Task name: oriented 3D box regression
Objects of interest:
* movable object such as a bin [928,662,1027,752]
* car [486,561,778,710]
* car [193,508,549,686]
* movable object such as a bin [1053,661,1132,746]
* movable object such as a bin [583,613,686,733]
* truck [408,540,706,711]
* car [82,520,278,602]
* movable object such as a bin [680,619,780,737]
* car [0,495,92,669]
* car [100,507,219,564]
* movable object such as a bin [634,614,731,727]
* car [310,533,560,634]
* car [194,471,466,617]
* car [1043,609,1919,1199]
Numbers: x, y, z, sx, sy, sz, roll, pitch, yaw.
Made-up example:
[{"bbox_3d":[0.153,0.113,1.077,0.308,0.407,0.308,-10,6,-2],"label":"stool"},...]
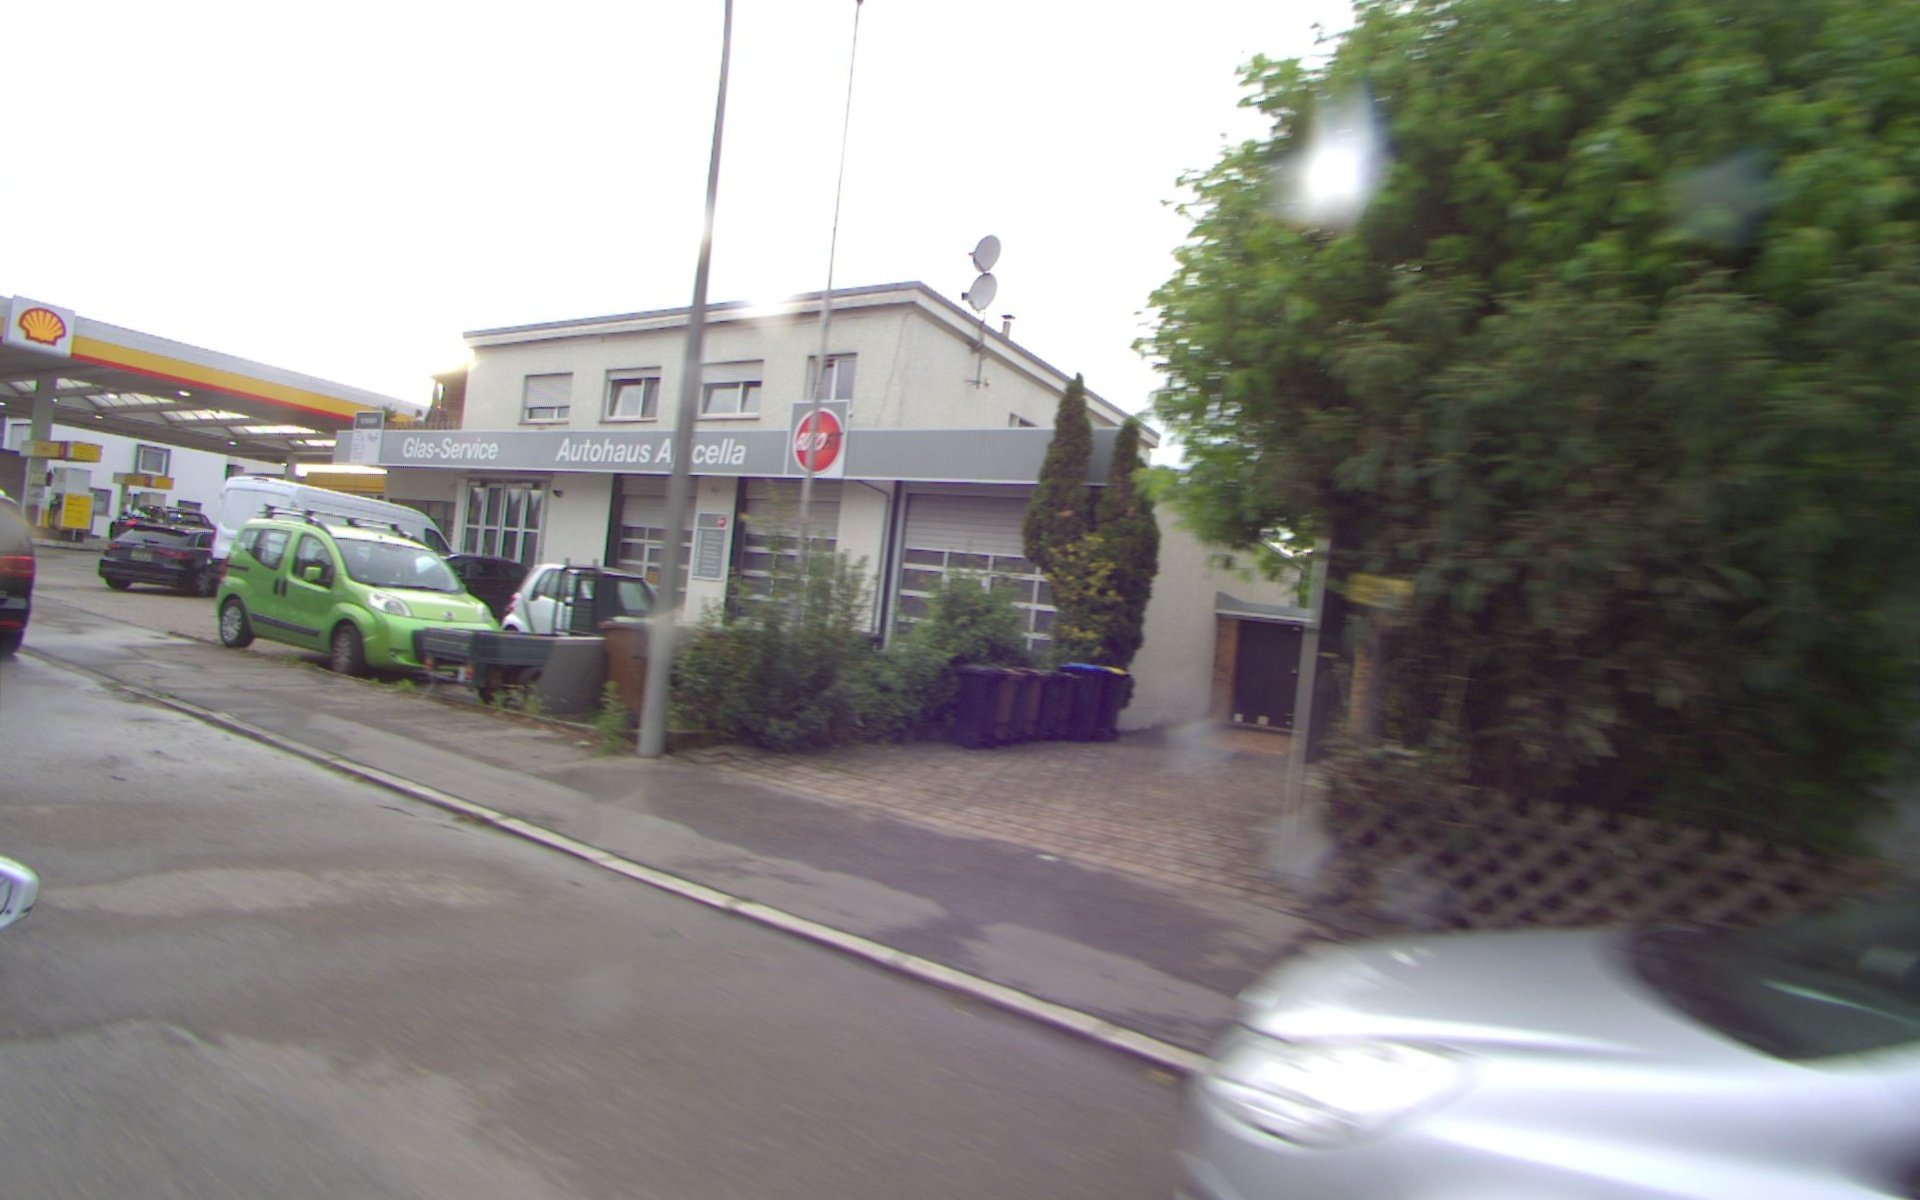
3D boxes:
[{"bbox_3d":[0.218,1.263,11.888,0.746,0.938,0.860,6,-2,31],"label":"movable object such as a bin"},{"bbox_3d":[-4.597,0.427,14.037,3.667,1.540,1.748,7,3,28],"label":"car"},{"bbox_3d":[-7.436,-0.044,12.680,3.931,1.703,1.998,7,-1,28],"label":"car"},{"bbox_3d":[1.912,1.480,14.447,0.746,1.090,0.860,6,-2,31],"label":"movable object such as a bin"},{"bbox_3d":[-3.246,0.721,10.039,0.670,1.088,0.575,6,0,31],"label":"movable object such as a bin"},{"bbox_3d":[-4.238,0.317,10.783,1.307,1.549,2.552,6,0,40],"label":"truck"},{"bbox_3d":[-16.645,-0.784,21.737,1.752,1.391,3.989,7,-1,-14],"label":"car"},{"bbox_3d":[-2.325,0.781,10.194,0.670,1.088,0.575,6,0,31],"label":"movable object such as a bin"},{"bbox_3d":[-10.828,-0.390,10.104,3.933,1.615,1.996,7,0,31],"label":"car"},{"bbox_3d":[-27.944,-2.261,35.083,4.596,1.483,1.742,6,-1,32],"label":"car"},{"bbox_3d":[-2.918,0.738,10.593,0.670,1.088,0.575,6,0,31],"label":"movable object such as a bin"},{"bbox_3d":[-11.008,-0.280,21.422,1.864,1.592,4.310,7,-1,29],"label":"car"},{"bbox_3d":[-13.679,-1.081,22.303,2.204,2.551,4.808,7,-1,11],"label":"car"},{"bbox_3d":[2.244,1.051,1.560,3.819,1.519,1.740,7,-2,34],"label":"car"}]
